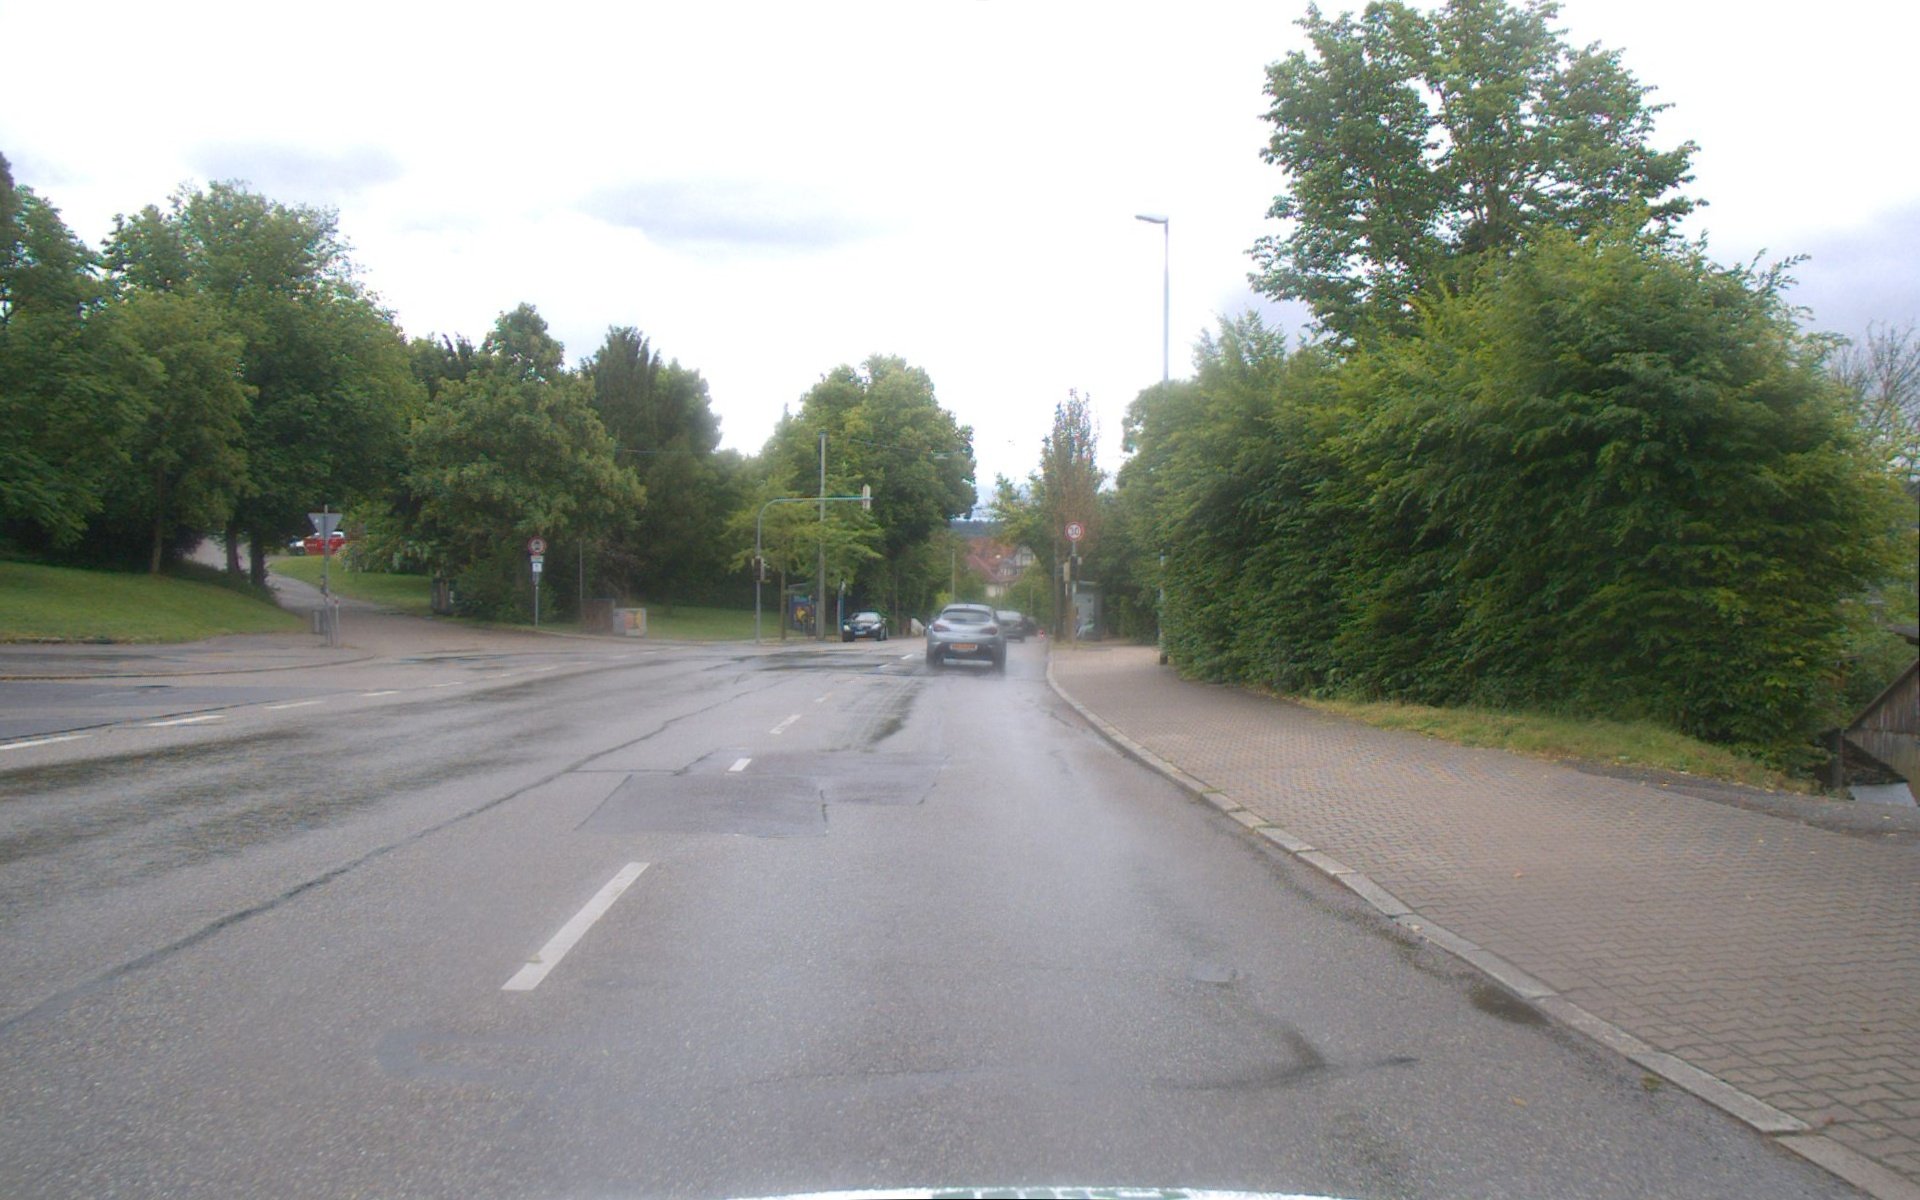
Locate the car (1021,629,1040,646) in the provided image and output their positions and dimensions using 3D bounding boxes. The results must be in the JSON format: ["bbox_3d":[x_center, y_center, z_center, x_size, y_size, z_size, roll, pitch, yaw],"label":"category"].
[{"bbox_3d":[6.784,3.588,160.127,1.686,1.489,4.001,4,-1,2],"label":"car"}]

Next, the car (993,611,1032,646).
[{"bbox_3d":[2.456,1.313,77.118,1.686,1.489,4.001,4,-1,2],"label":"car"}]

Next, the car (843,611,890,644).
[{"bbox_3d":[-4.109,1.207,73.267,1.626,1.329,4.085,-1,0,3],"label":"car"}]

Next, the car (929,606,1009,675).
[{"bbox_3d":[0.268,0.930,39.696,1.718,1.489,4.001,3,0,2],"label":"car"}]

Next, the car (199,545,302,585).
[{"bbox_3d":[-30.300,-1.483,70.727,3.838,1.512,1.924,2,-1,-20],"label":"car"}]

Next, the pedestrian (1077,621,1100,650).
[{"bbox_3d":[6.239,1.713,80.239,1.050,1.379,0.919,0,-1,10],"label":"pedestrian"}]

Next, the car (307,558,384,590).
[{"bbox_3d":[-33.398,-1.397,90.032,3.838,1.512,1.924,2,-1,-20],"label":"car"}]

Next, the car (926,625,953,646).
[{"bbox_3d":[-1.538,2.668,124.598,1.686,1.423,4.001,3,-1,3],"label":"car"}]
